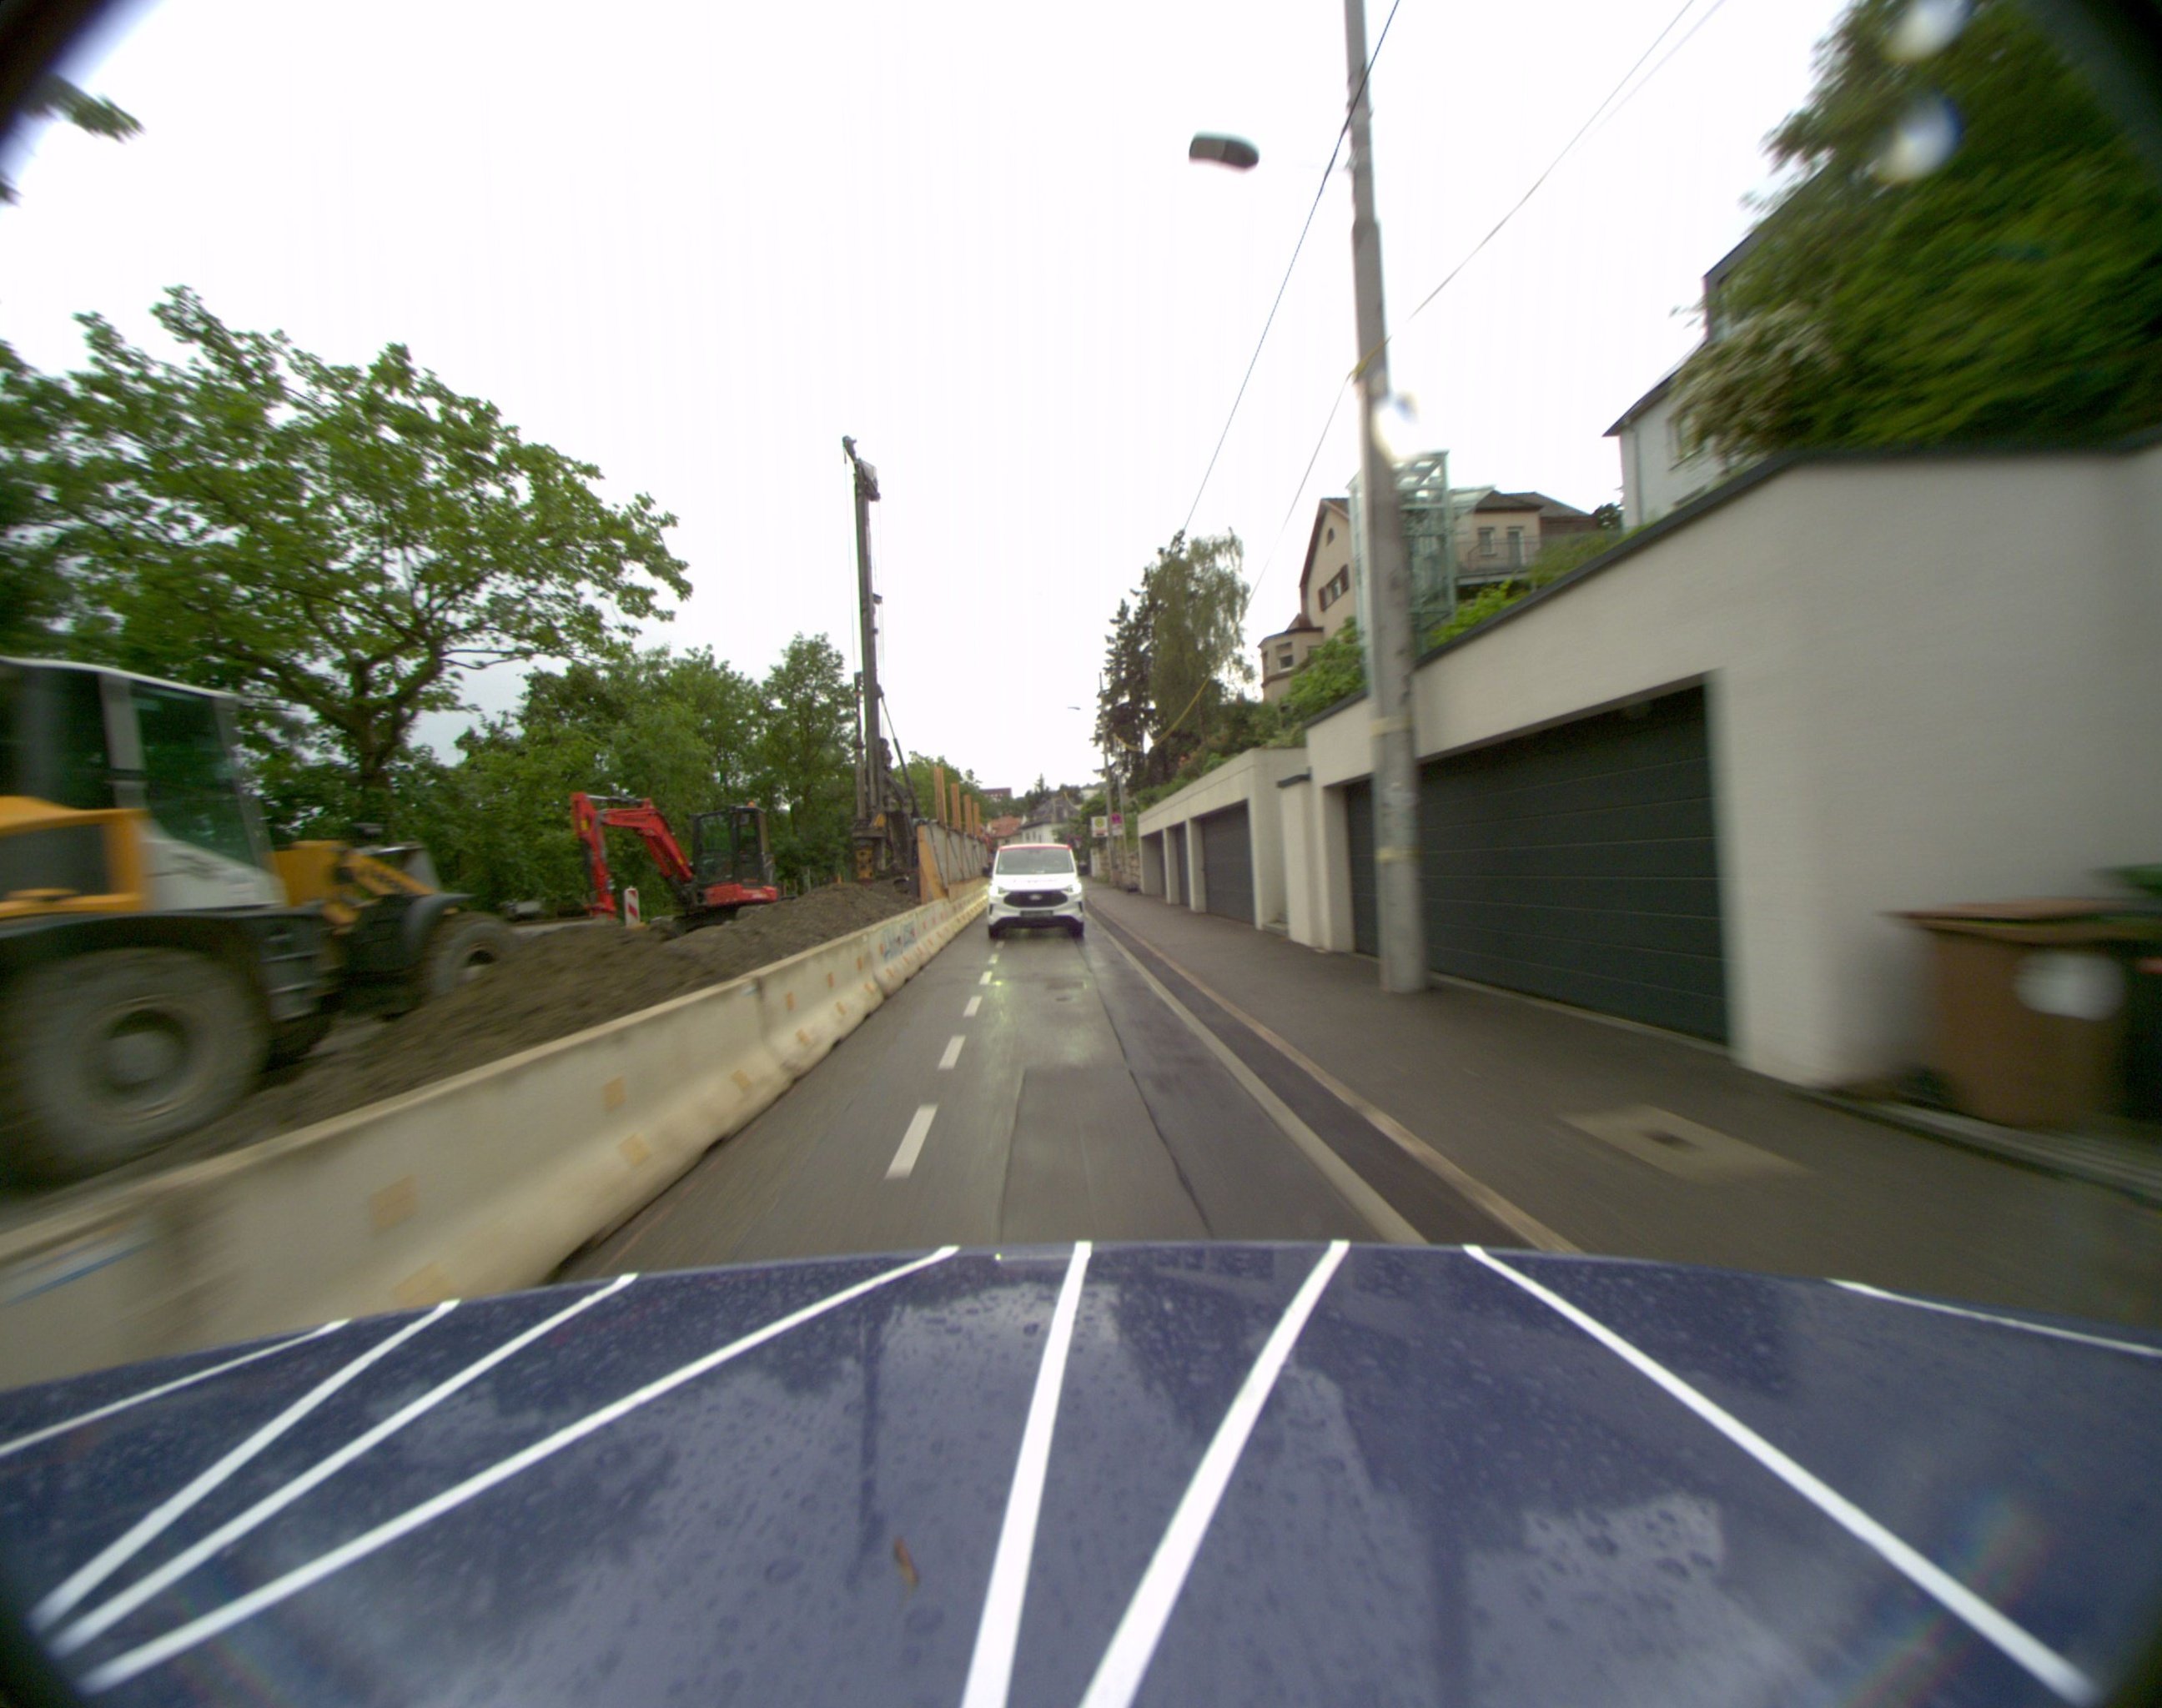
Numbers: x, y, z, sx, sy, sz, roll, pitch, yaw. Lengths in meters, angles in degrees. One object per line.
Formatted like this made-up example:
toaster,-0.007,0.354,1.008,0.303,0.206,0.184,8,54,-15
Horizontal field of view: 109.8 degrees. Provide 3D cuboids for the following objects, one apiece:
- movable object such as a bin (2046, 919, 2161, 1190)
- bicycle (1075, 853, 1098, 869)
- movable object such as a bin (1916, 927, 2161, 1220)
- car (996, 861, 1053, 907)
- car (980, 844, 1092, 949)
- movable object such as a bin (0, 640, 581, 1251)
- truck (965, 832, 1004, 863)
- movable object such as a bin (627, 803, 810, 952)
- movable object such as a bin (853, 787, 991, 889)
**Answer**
movable object such as a bin,4.523,0.815,3.090,0.505,1.016,0.522,-4,1,-4
bicycle,0.407,0.555,58.751,1.621,1.124,0.443,-4,1,10
movable object such as a bin,3.994,0.851,3.126,0.505,1.016,0.522,-4,1,-4
car,-2.149,1.134,29.948,1.889,1.564,4.000,-4,-1,-1
car,-1.065,0.803,17.351,2.046,1.883,5.206,-4,1,-4
movable object such as a bin,-6.688,0.498,5.305,2.500,3.058,5.587,-4,1,-1
truck,-6.953,-0.481,55.012,2.558,2.096,3.302,-2,1,-4
movable object such as a bin,-7.143,0.411,15.403,2.101,2.586,3.175,-4,1,-3
movable object such as a bin,-8.542,-0.844,41.831,3.685,5.037,7.174,-2,1,25
